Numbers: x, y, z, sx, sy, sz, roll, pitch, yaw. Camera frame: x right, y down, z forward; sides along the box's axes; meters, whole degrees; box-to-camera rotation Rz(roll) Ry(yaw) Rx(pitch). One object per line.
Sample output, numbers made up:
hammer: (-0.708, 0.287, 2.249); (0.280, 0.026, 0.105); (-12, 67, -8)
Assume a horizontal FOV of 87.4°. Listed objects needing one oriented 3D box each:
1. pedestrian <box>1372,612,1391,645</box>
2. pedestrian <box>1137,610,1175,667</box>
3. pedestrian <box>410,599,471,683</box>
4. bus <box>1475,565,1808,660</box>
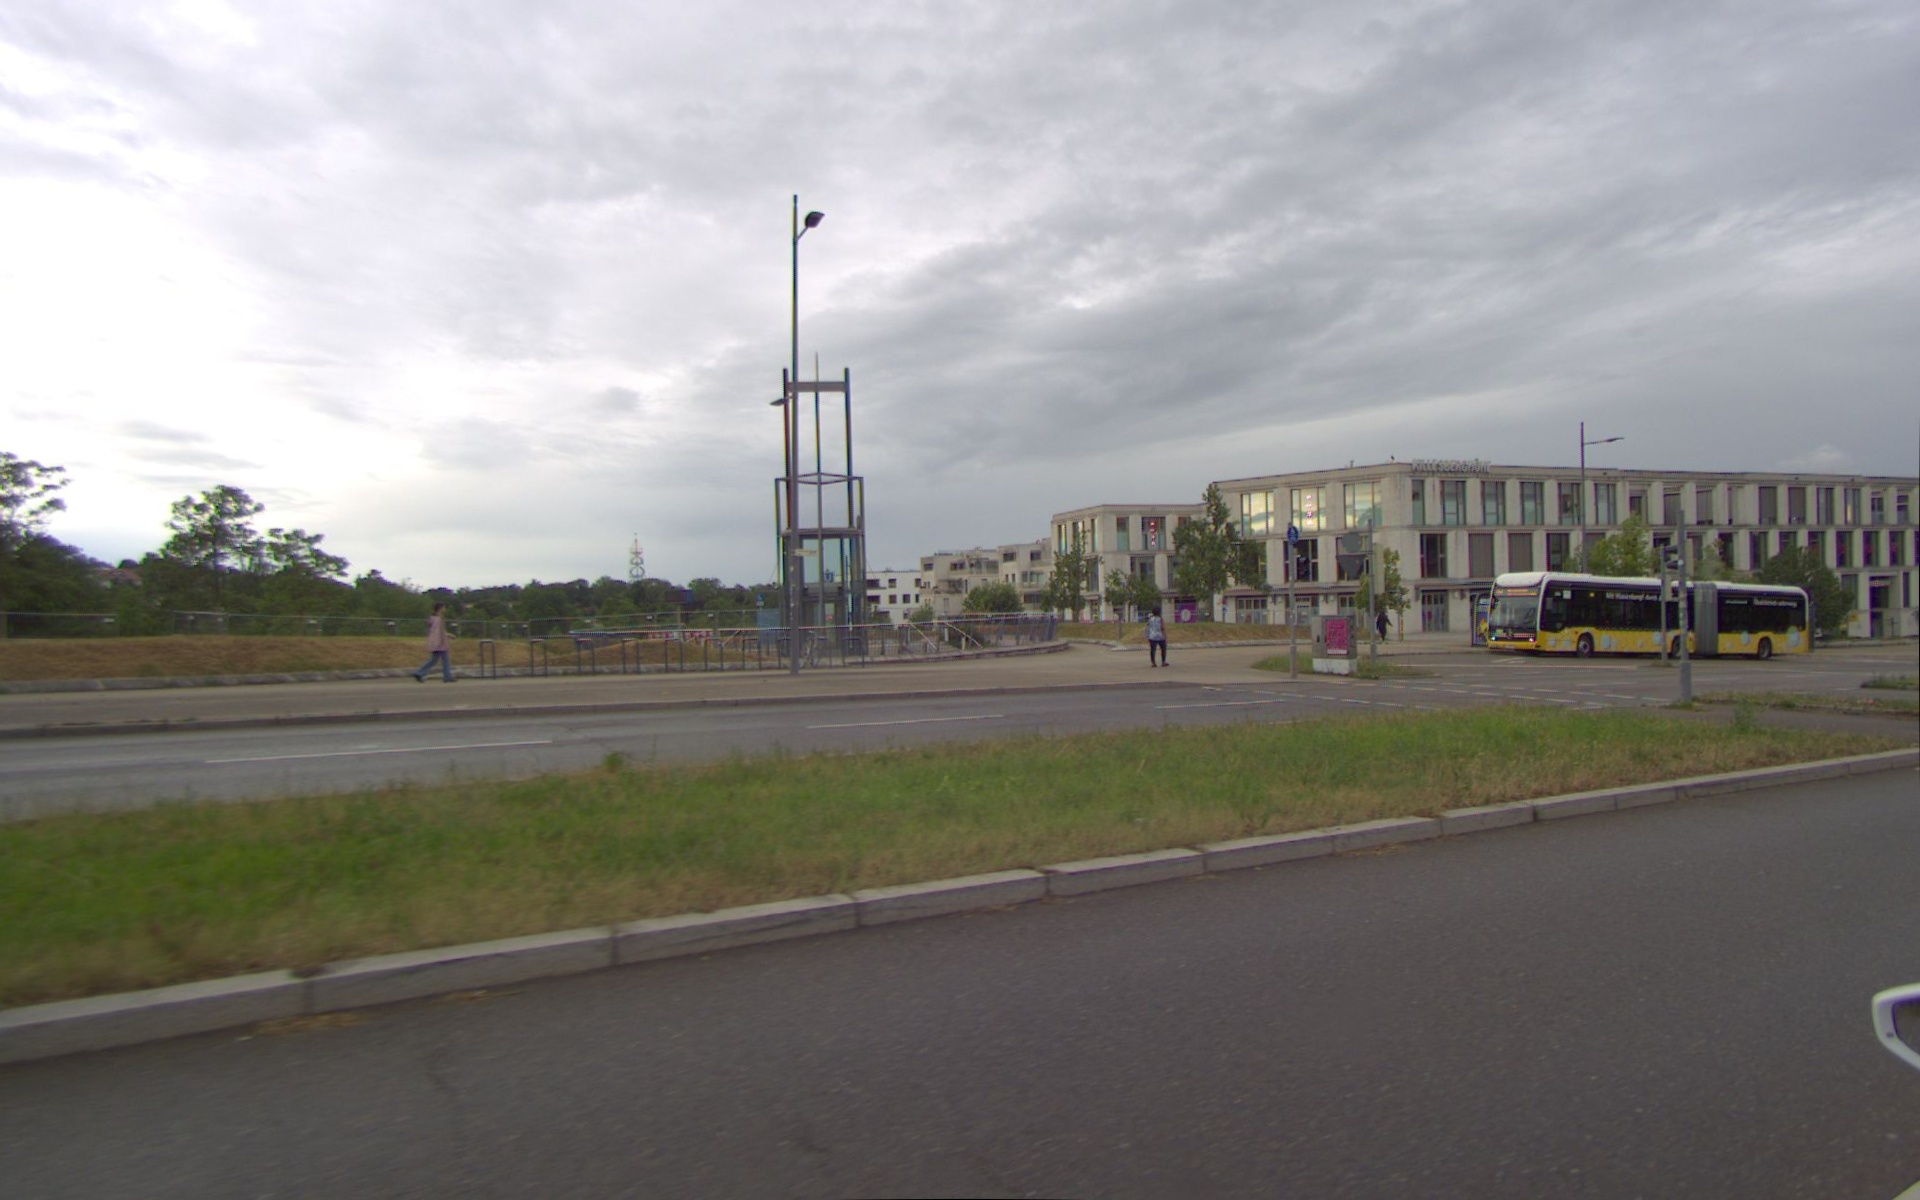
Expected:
pedestrian: (20.331, 1.380, 48.445); (0.675, 1.544, 0.715); (0, -2, 42)
pedestrian: (5.574, 1.099, 28.546); (0.823, 1.594, 0.717); (0, -2, 36)
pedestrian: (-10.455, 0.831, 20.221); (0.927, 1.642, 0.808); (3, -2, -37)
bus: (30.322, 0.727, 44.149); (17.965, 3.401, 2.779); (2, -2, -23)
